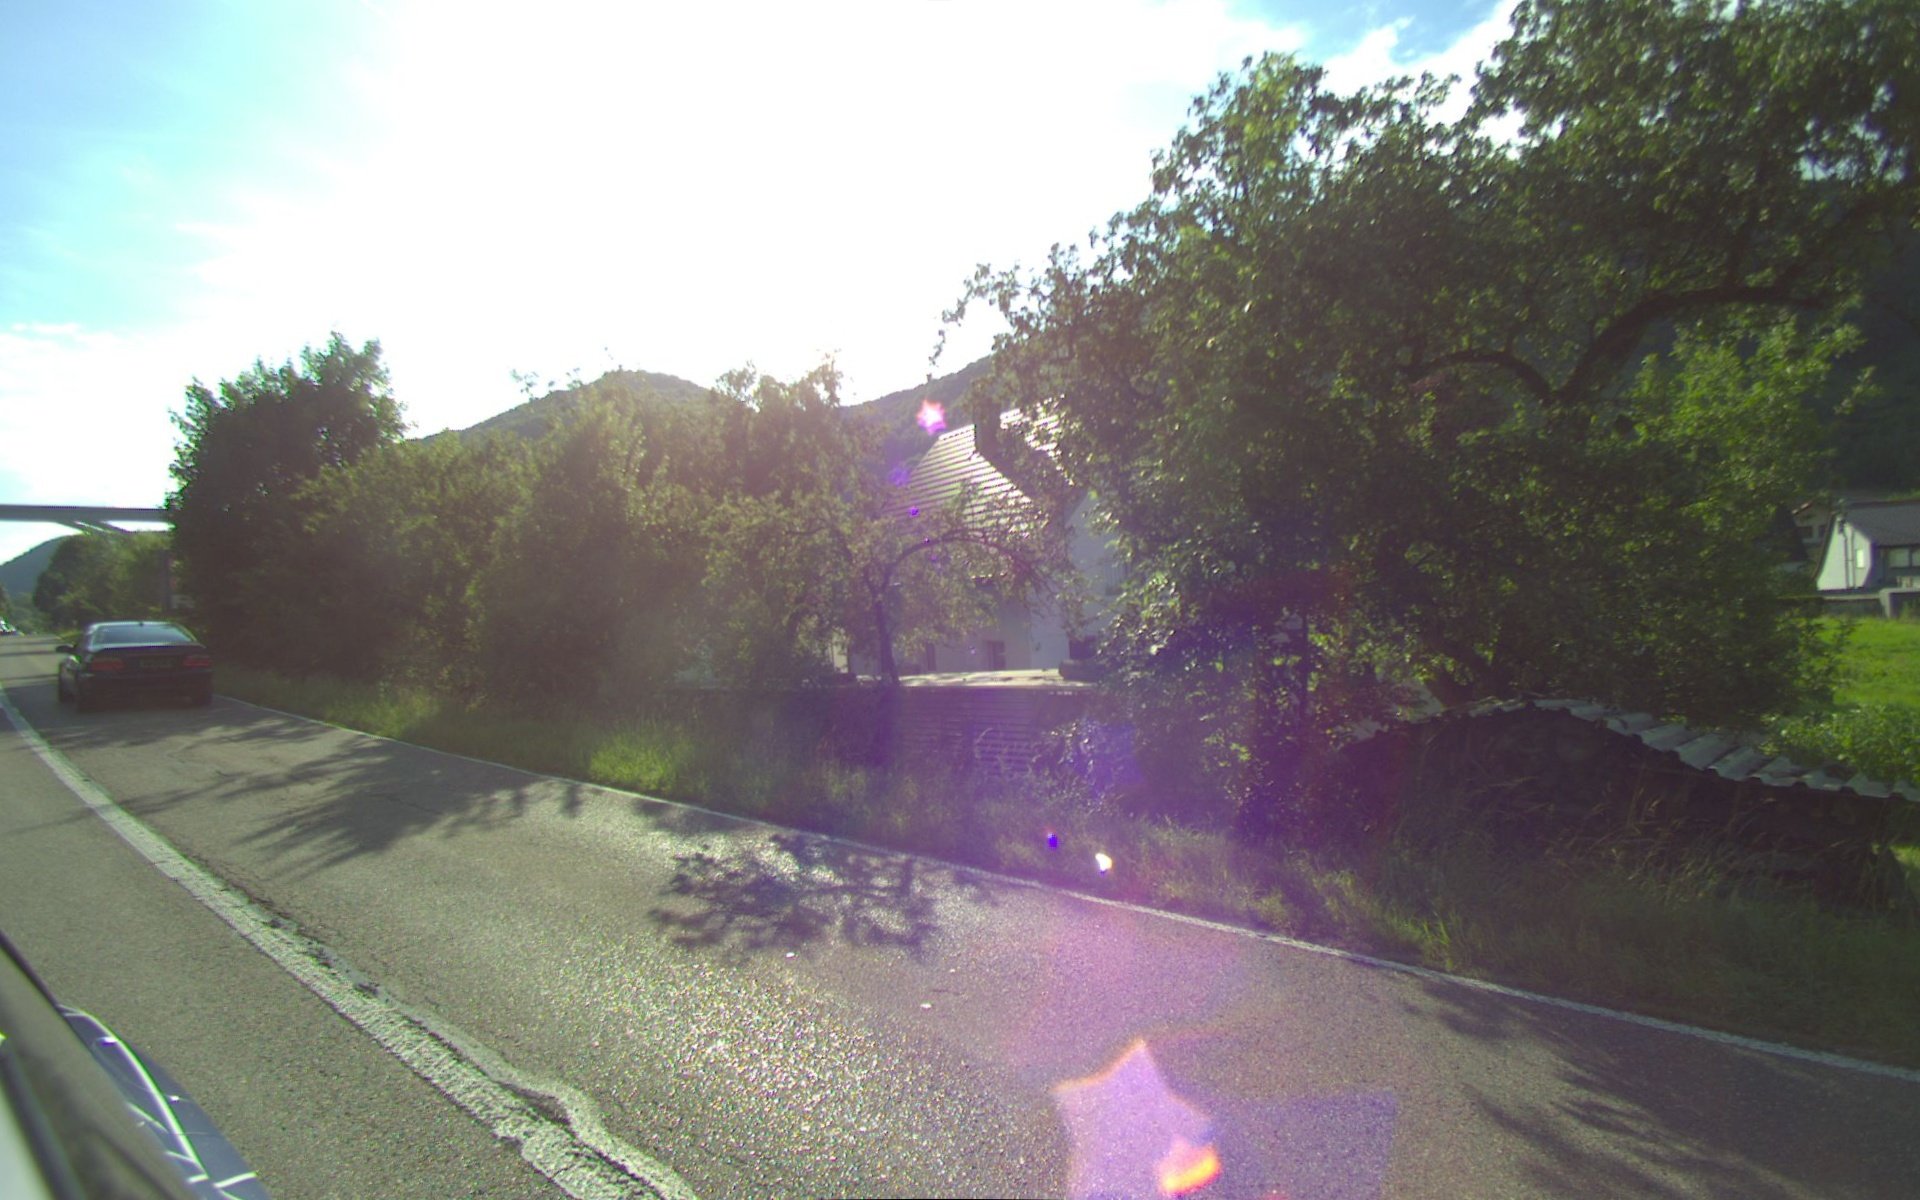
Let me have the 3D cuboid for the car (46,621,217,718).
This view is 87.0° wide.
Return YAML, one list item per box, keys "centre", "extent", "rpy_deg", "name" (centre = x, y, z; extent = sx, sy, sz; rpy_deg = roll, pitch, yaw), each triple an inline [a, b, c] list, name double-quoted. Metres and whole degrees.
- centre: [-13.774, 1.055, 16.741]
  extent: [4.202, 1.364, 1.577]
  rpy_deg: [-1, 0, 42]
  name: "car"
